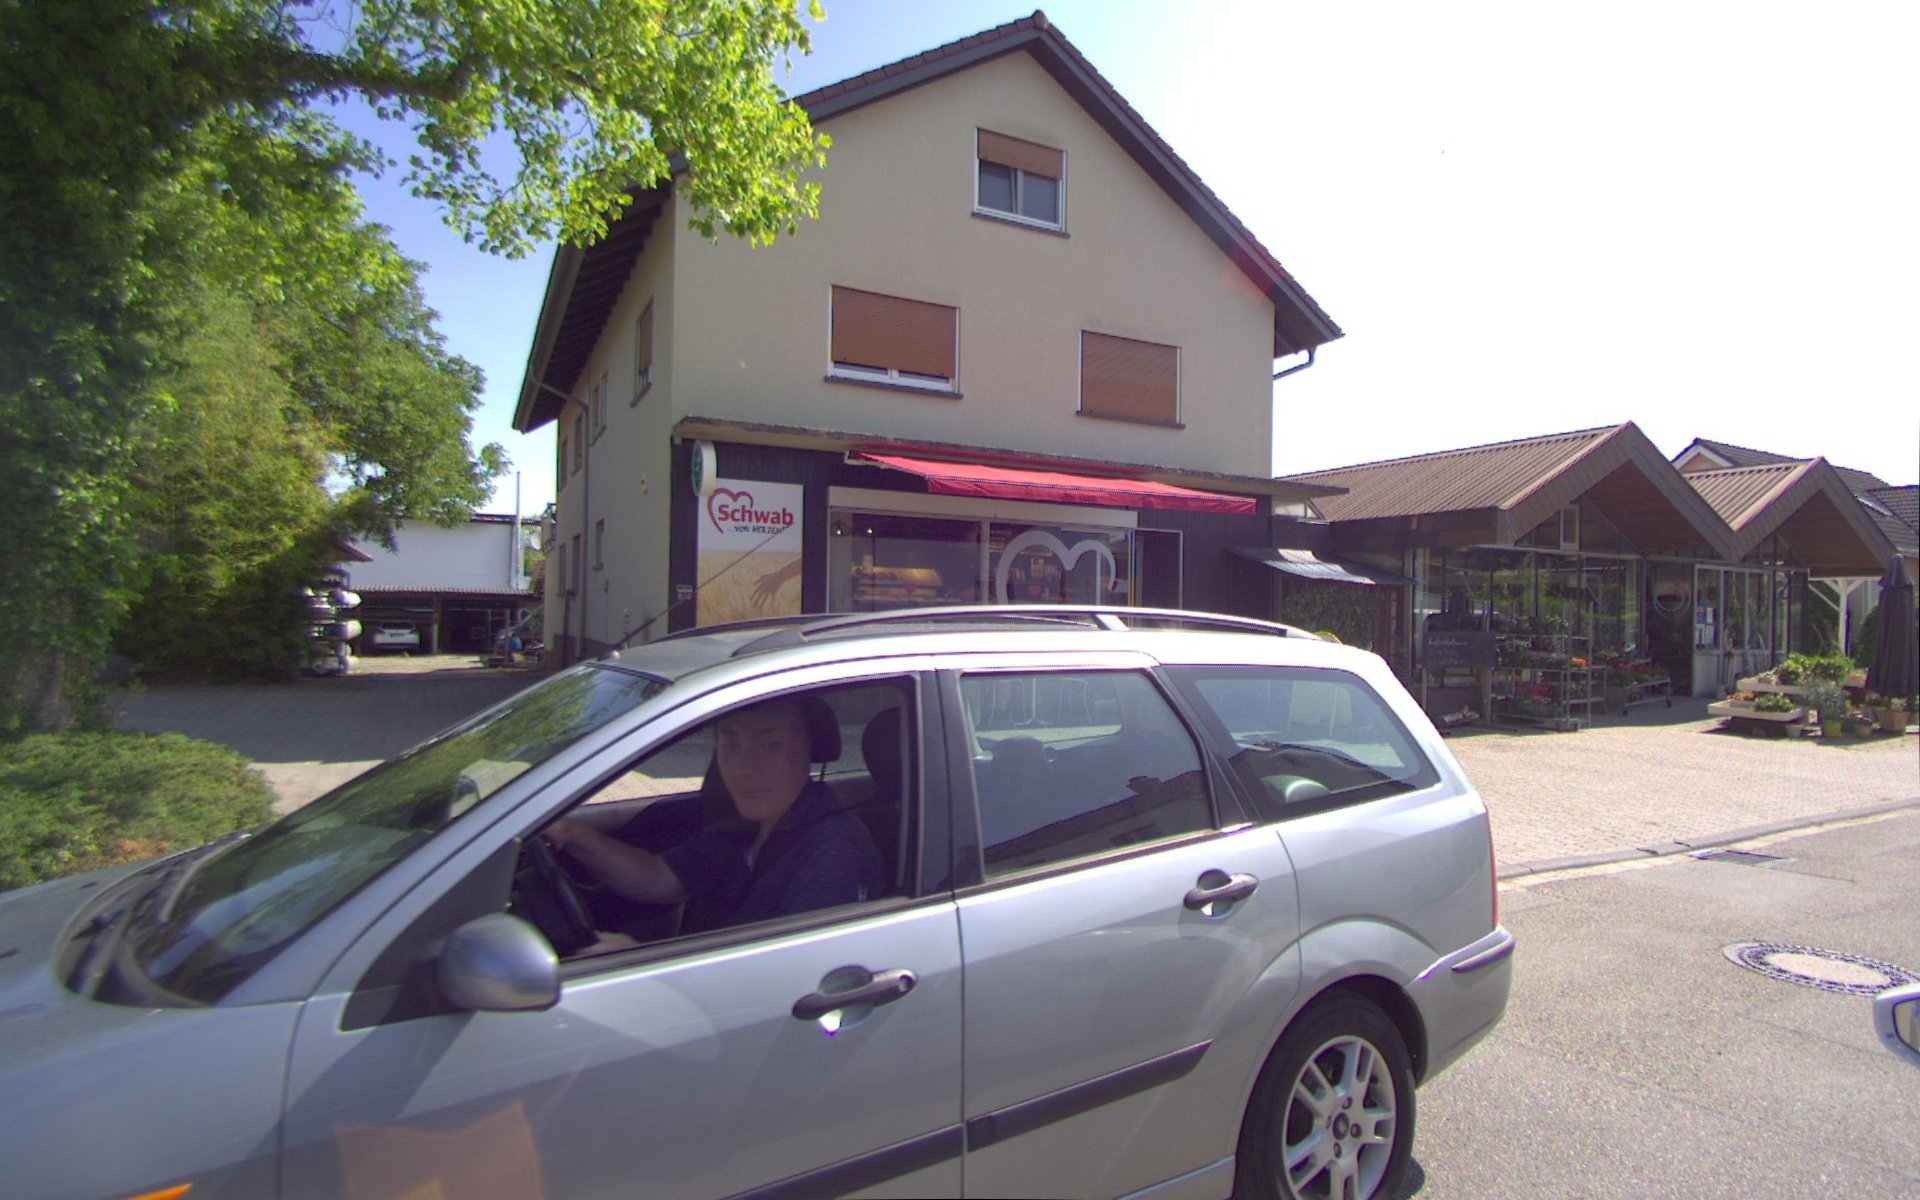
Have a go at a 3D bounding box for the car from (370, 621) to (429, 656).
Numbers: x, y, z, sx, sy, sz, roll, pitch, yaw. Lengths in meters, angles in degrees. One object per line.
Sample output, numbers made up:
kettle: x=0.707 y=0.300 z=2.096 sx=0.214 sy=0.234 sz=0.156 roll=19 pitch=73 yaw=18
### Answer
car: x=-24.425 y=1.673 z=43.900 sx=1.876 sy=1.461 sz=3.977 roll=1 pitch=-2 yaw=-24

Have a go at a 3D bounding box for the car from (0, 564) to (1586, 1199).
car: x=-0.591 y=0.777 z=2.432 sx=4.324 sy=1.506 sz=1.745 roll=2 pitch=-3 yaw=-30

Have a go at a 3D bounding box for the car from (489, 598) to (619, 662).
car: x=-16.264 y=1.227 z=40.256 sx=4.594 sy=2.441 sz=2.178 roll=2 pitch=-2 yaw=-30
